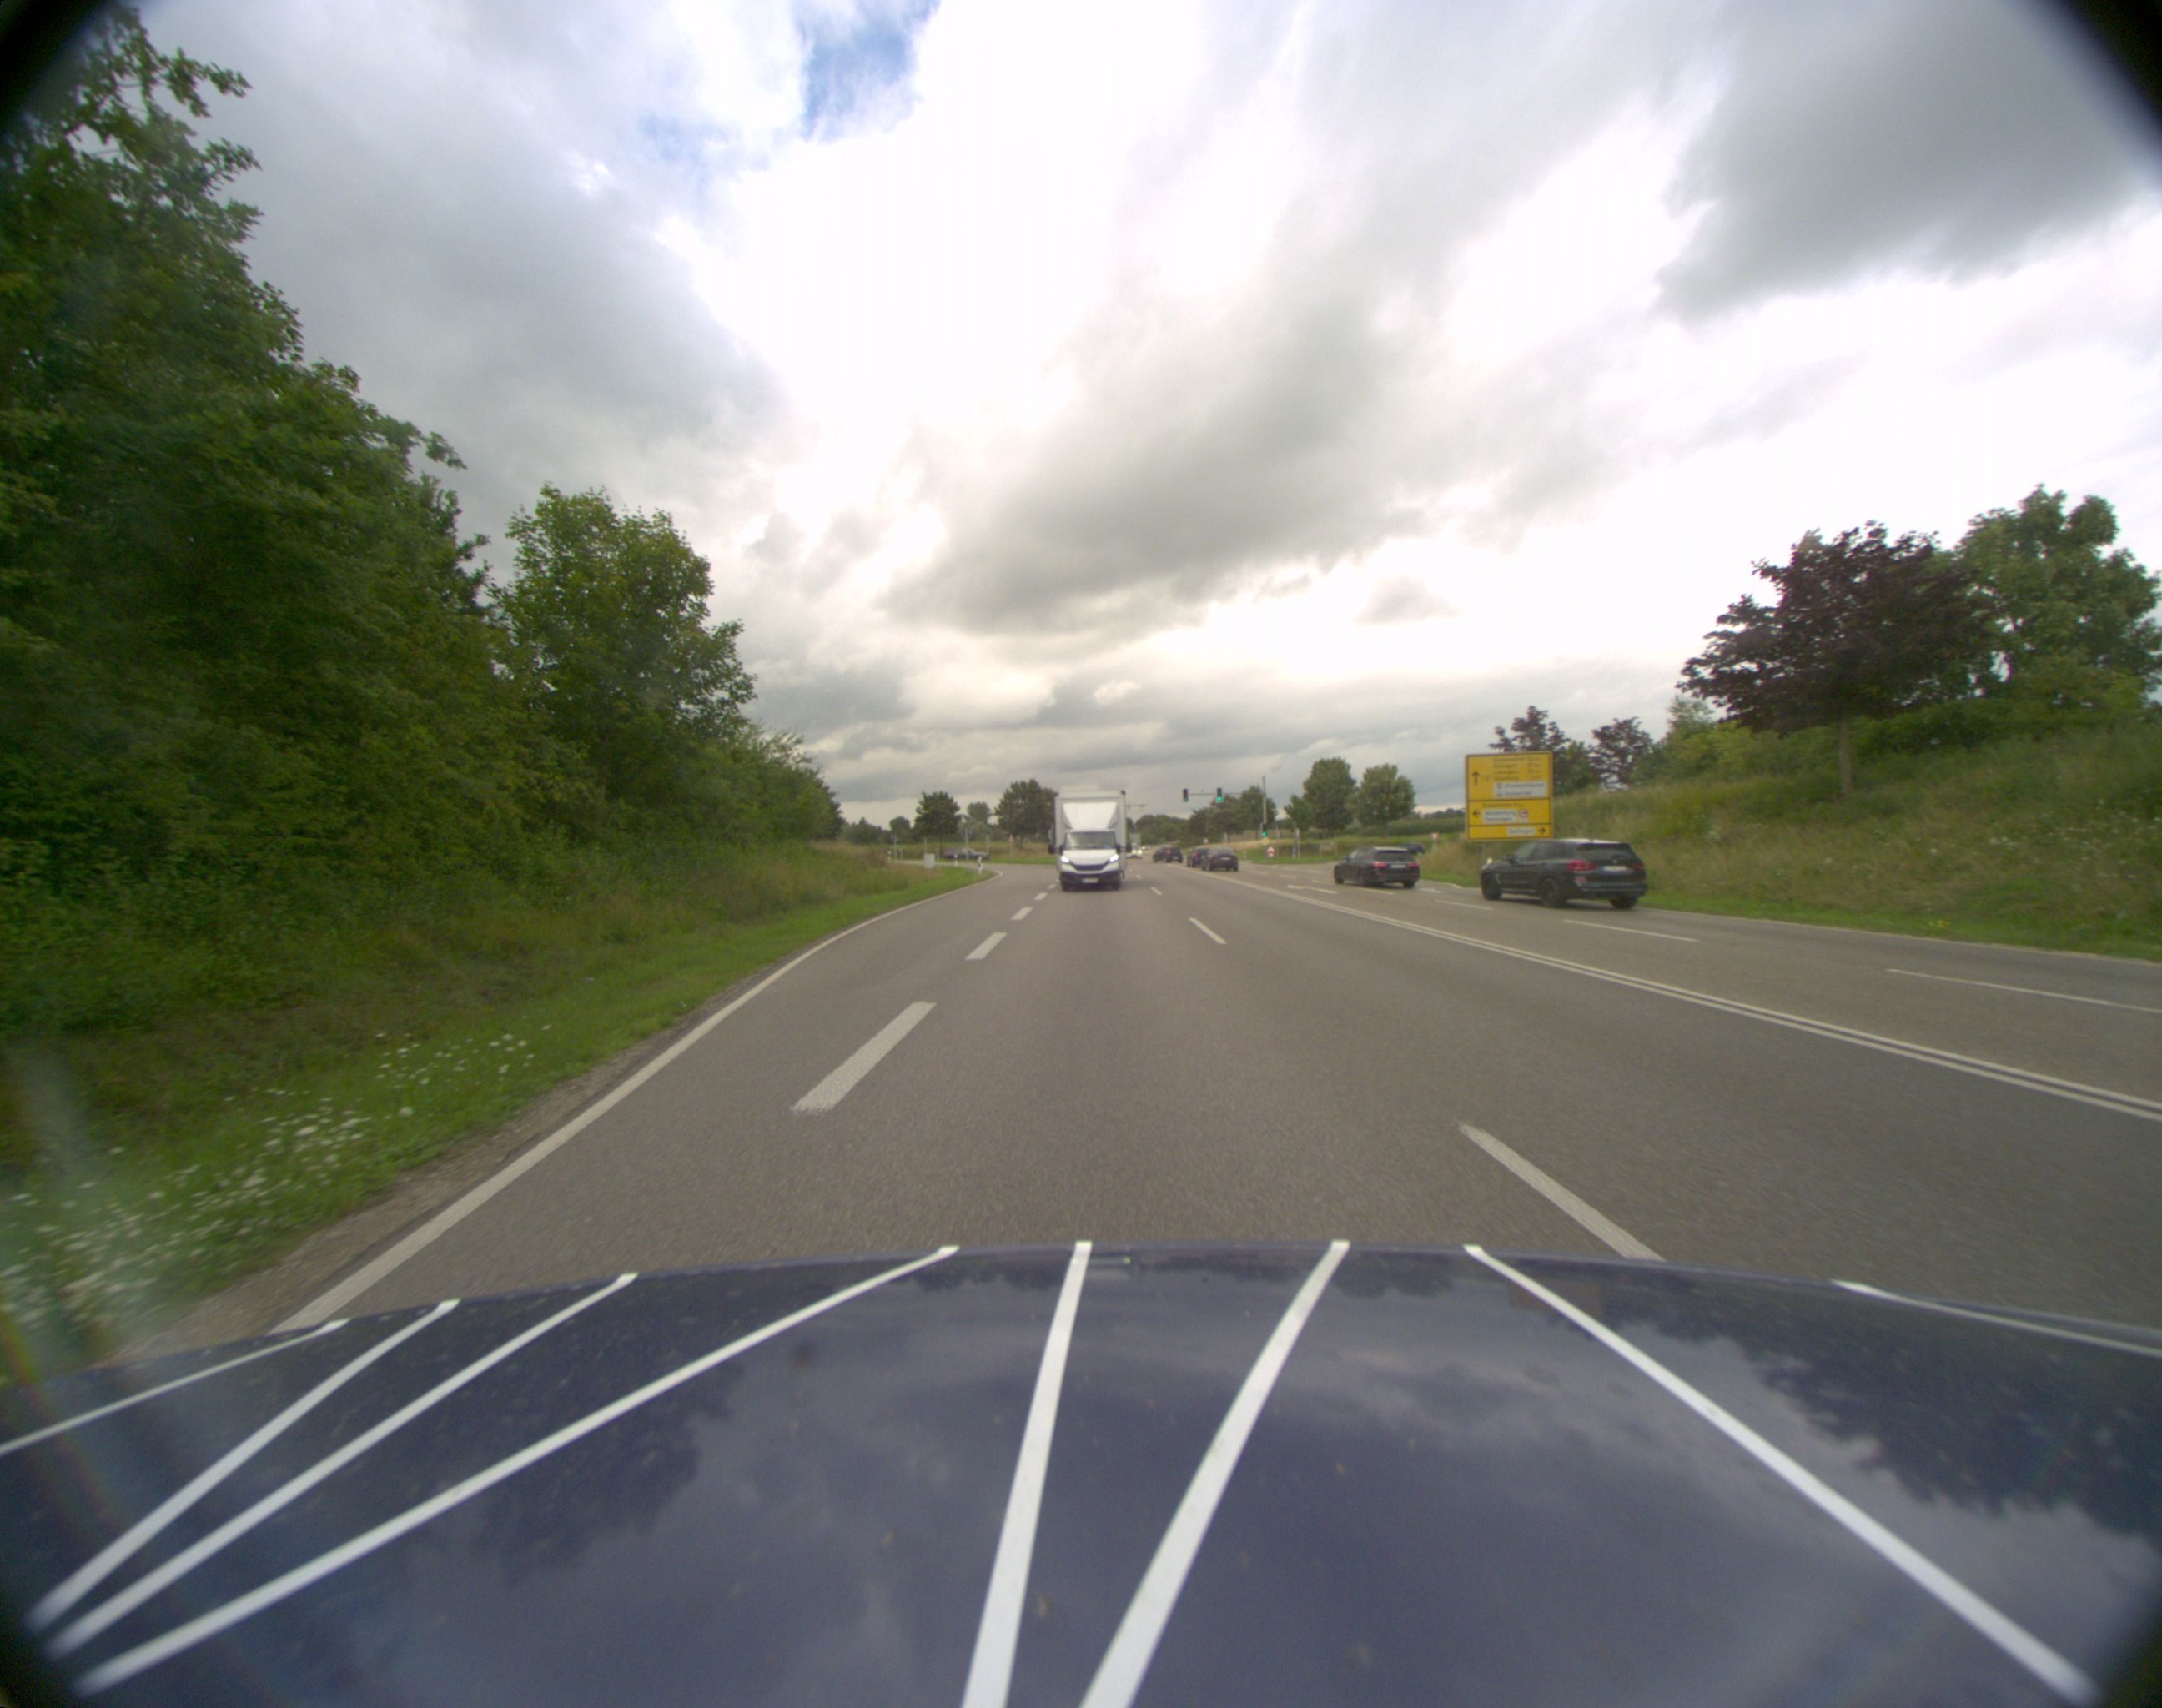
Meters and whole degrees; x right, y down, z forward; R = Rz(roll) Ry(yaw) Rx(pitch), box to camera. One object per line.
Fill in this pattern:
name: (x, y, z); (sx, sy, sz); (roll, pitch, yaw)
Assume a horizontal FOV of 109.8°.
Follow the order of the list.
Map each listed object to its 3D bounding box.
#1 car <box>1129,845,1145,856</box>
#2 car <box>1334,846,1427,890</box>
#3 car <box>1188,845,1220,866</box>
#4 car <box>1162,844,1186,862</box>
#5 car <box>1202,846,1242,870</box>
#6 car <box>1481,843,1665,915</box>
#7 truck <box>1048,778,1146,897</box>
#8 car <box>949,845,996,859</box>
car: (7.027, -0.437, 95.207); (1.860, 1.274, 4.000); (0, 1, 2)
car: (10.950, 0.449, 28.159); (1.727, 1.472, 4.659); (0, 1, 2)
car: (8.896, 0.081, 55.256); (1.860, 1.441, 4.000); (0, 1, 2)
car: (8.475, -0.097, 69.612); (1.860, 1.587, 3.675); (0, 1, 2)
car: (8.627, 0.221, 46.812); (1.860, 1.399, 4.185); (0, 1, 2)
car: (12.027, 0.529, 19.007); (1.860, 1.587, 4.398); (0, 1, 2)
truck: (0.336, -0.563, 28.118); (2.935, 3.653, 8.439); (-2, 1, -2)
car: (-10.722, -0.209, 75.185); (4.345, 1.215, 1.865); (-1, 1, 4)
